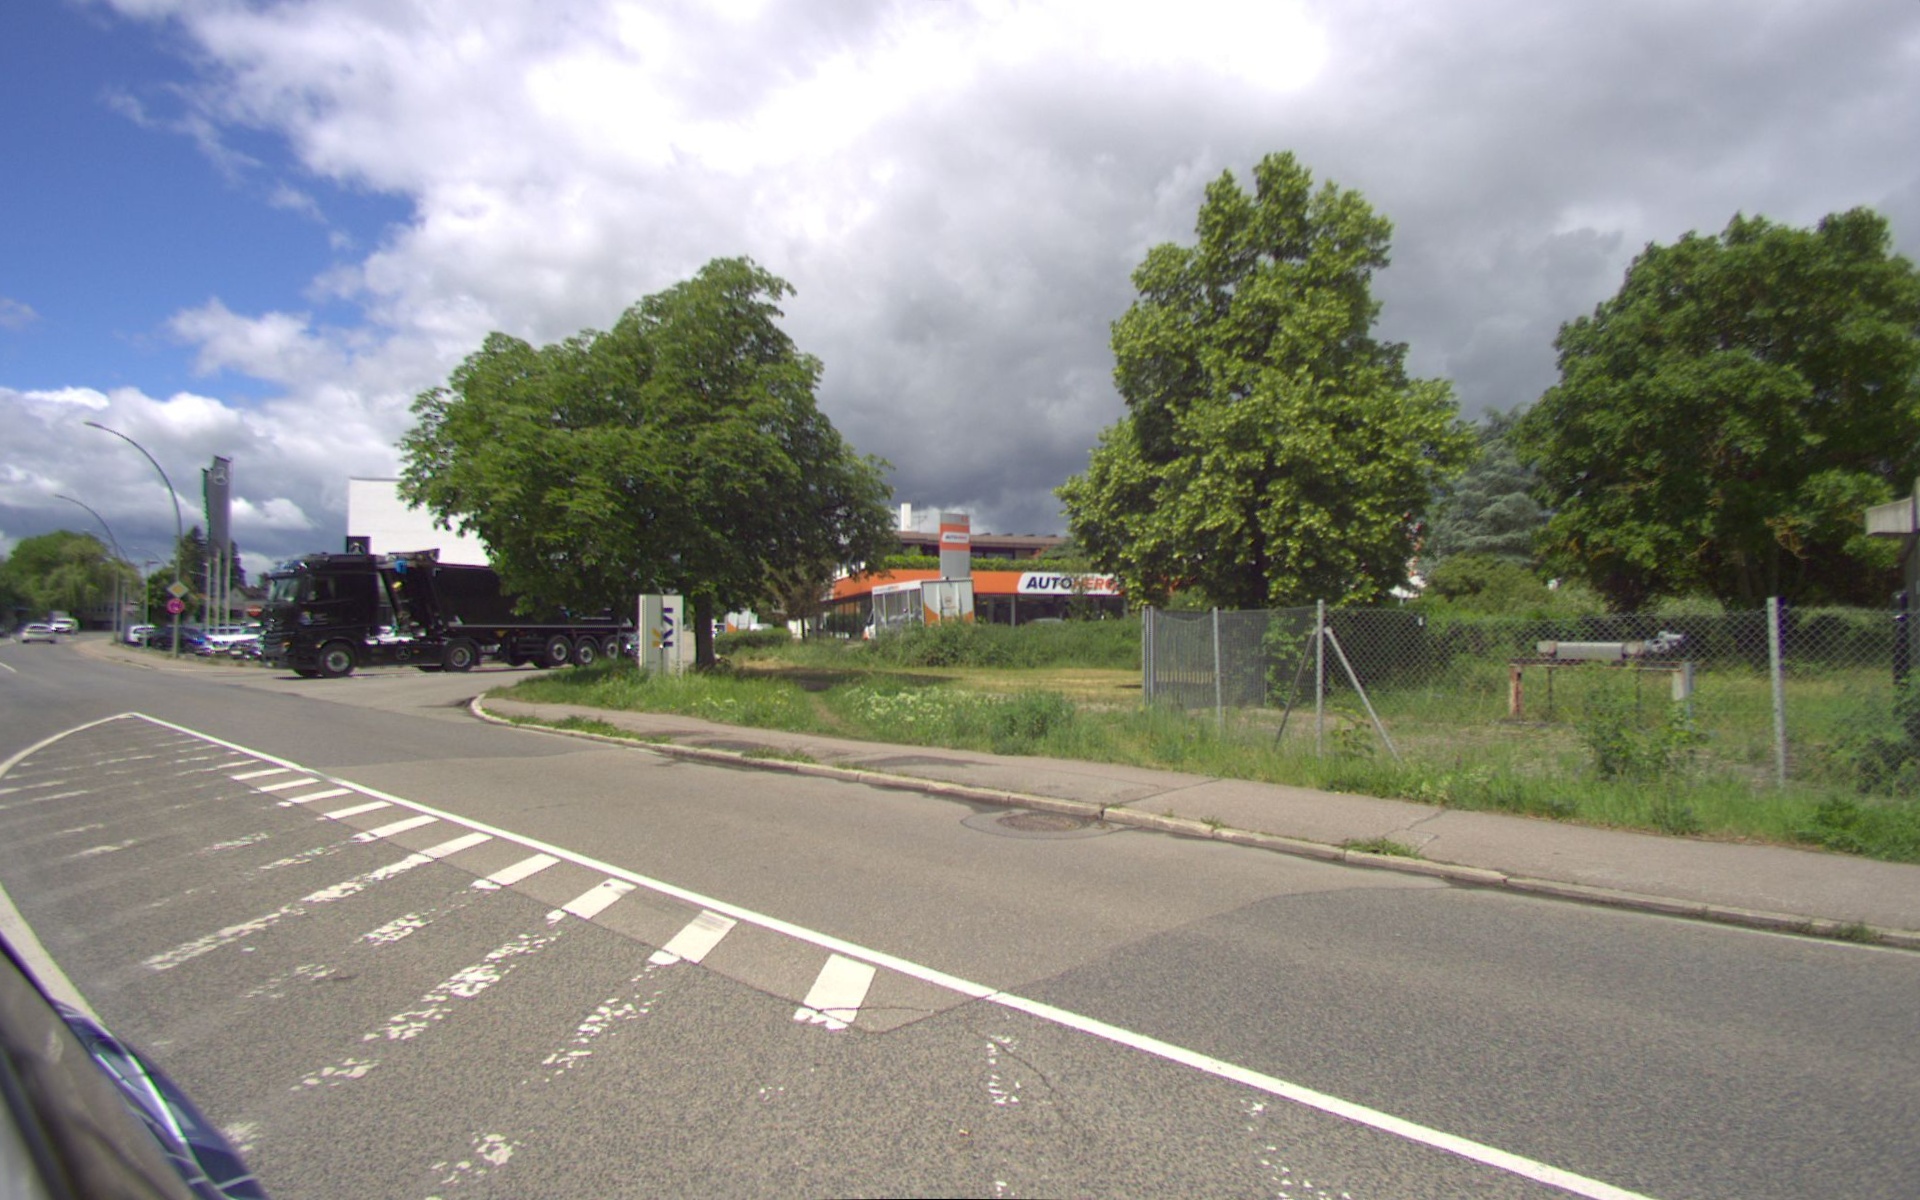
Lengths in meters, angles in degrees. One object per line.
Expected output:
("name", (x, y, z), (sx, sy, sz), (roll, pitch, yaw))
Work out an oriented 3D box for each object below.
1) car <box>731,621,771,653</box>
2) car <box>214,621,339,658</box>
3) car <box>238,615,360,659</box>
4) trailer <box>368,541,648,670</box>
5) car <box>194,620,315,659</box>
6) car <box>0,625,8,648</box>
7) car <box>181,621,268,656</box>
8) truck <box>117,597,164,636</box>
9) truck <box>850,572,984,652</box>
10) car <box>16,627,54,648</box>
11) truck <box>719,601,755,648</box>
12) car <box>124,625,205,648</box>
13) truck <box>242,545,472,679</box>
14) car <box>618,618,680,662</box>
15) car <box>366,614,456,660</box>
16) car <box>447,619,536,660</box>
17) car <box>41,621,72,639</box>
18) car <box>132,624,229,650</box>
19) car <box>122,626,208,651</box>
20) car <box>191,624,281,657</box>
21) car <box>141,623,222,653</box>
("car", (-12.933, 2.269, 62.460), (1.802, 1.860, 4.688), (1, -2, -18))
("car", (-28.928, 1.667, 42.988), (1.780, 1.477, 4.307), (-2, -2, 15))
("car", (-26.261, 1.450, 40.438), (1.959, 1.617, 4.745), (-1, -1, -3))
("trailer", (-16.175, 0.343, 37.283), (3.303, 4.114, 9.380), (0, -2, 27))
("car", (-31.552, 1.749, 45.441), (1.917, 1.690, 4.282), (0, -2, 12))
("car", (-88.073, 3.307, 91.917), (1.924, 2.029, 4.008), (2, -3, -38))
("car", (-38.577, 1.993, 53.238), (1.864, 1.681, 4.580), (-1, -1, -10))
("truck", (-101.833, 2.098, 125.898), (2.931, 4.697, 8.204), (2, -2, -29))
("truck", (-2.060, 0.607, 43.239), (2.618, 3.073, 8.618), (2, -2, -25))
("car", (-69.953, 2.816, 76.587), (1.969, 1.461, 4.433), (4, -4, -41))
("truck", (-17.363, 1.944, 78.503), (2.406, 3.449, 7.842), (1, -2, -15))
("car", (-53.660, 2.466, 68.327), (3.895, 1.506, 1.806), (1, -2, -5))
("truck", (-18.964, 0.448, 32.091), (2.980, 3.853, 5.501), (-1, -2, 38))
("car", (-13.896, 1.777, 45.465), (1.927, 1.890, 4.123), (1, -2, -7))
("car", (-22.187, 1.473, 40.822), (4.601, 1.734, 1.909), (-1, -2, 44))
("car", (-19.786, 1.658, 42.661), (4.765, 1.614, 1.777), (-1, -4, 44))
("car", (-104.377, 3.484, 116.981), (1.922, 2.029, 4.012), (2, -2, -31))
("car", (-50.920, 2.395, 66.219), (4.561, 1.637, 2.066), (0, -2, -10))
("car", (-61.106, 2.943, 77.843), (4.880, 1.852, 1.896), (1, -3, -8))
("car", (-35.891, 2.012, 50.307), (1.843, 1.578, 4.530), (-1, -2, -10))
("car", (-47.143, 2.298, 61.311), (4.317, 1.637, 1.793), (-1, 1, 19))
